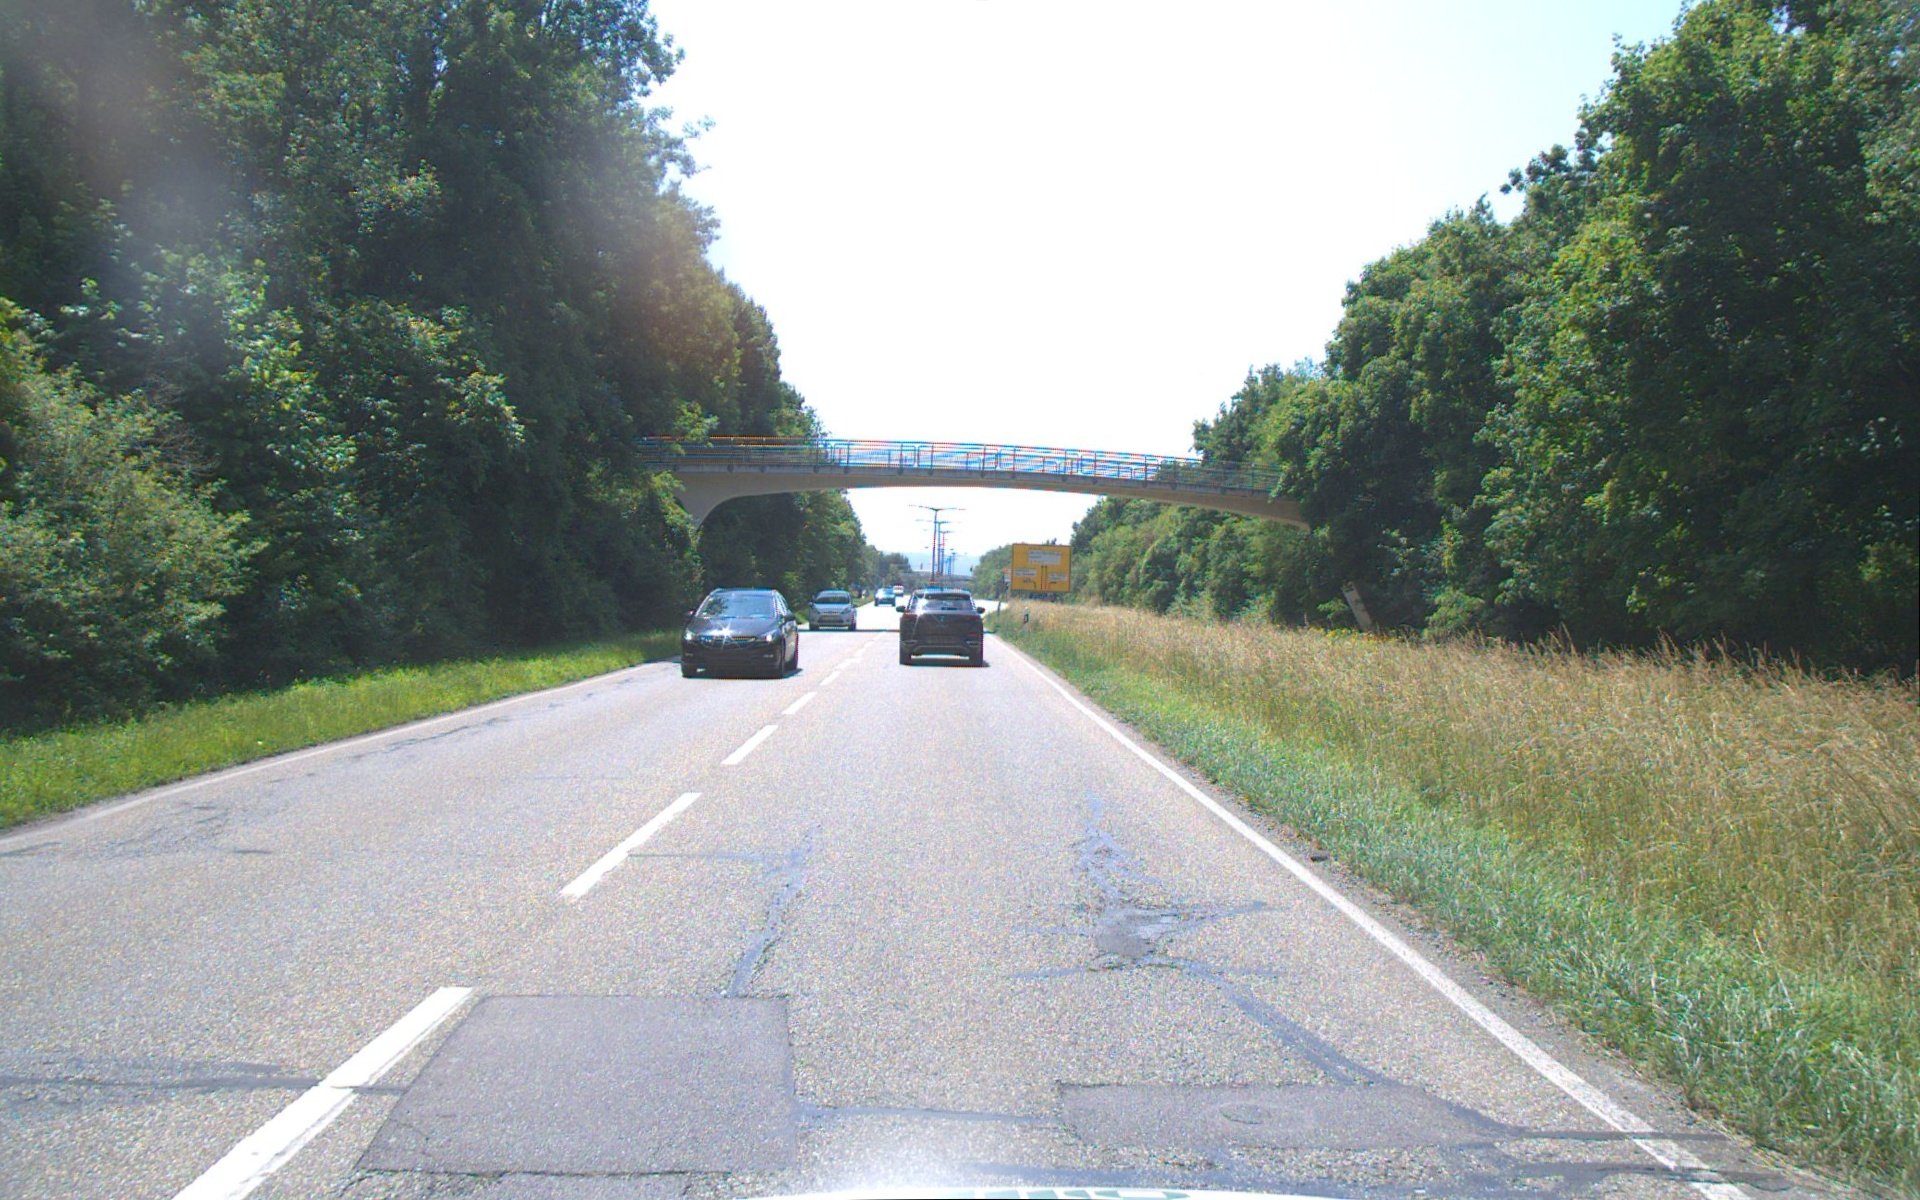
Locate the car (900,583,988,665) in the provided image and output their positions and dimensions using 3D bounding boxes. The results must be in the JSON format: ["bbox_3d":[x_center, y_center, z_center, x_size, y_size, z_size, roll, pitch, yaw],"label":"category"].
[{"bbox_3d":[-0.340,0.477,35.294,1.719,1.583,3.999,2,0,-1],"label":"car"}]

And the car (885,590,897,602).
[{"bbox_3d":[-10.574,-0.606,252.855,1.696,1.717,4.094,0,1,-1],"label":"car"}]

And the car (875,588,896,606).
[{"bbox_3d":[-6.853,-0.312,152.492,1.786,1.618,4.419,0,0,-1],"label":"car"}]

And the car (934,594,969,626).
[{"bbox_3d":[-0.462,0.495,87.252,1.760,1.611,3.999,1,0,-1],"label":"car"}]

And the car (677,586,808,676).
[{"bbox_3d":[-3.813,0.498,29.564,1.747,1.475,4.110,1,0,0],"label":"car"}]

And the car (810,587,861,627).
[{"bbox_3d":[-4.709,0.246,62.834,1.643,1.458,3.772,0,0,0],"label":"car"}]
